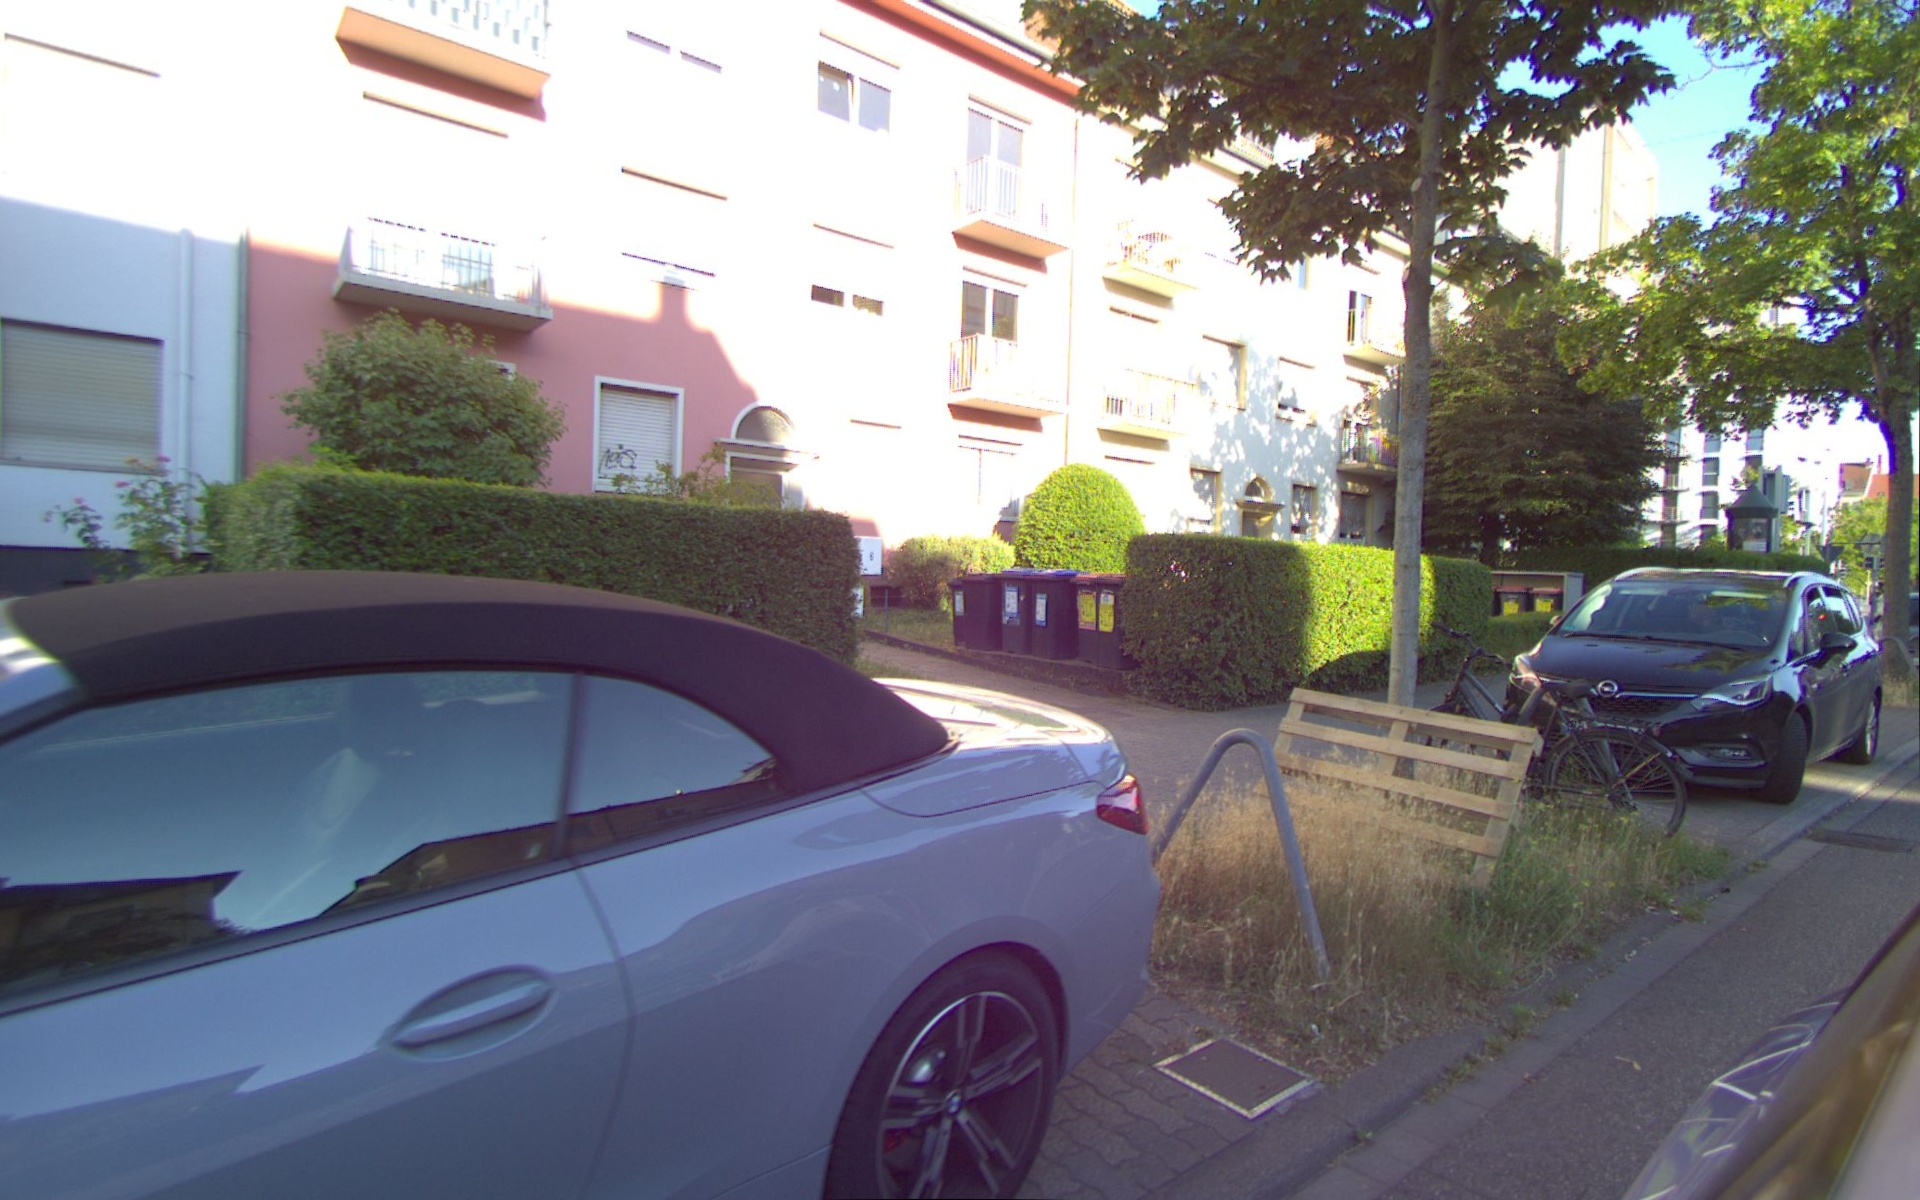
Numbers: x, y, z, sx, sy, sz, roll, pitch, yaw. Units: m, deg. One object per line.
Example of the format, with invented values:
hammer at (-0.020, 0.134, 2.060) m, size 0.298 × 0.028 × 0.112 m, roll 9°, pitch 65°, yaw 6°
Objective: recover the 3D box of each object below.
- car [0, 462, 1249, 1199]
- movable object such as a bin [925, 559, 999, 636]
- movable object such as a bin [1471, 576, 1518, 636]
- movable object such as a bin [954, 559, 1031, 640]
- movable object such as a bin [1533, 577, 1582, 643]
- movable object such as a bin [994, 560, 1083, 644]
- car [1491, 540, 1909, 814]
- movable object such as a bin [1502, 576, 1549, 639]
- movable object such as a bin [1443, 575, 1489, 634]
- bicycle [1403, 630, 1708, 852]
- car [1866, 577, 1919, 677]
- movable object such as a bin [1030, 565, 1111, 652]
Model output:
car at (-1.552, 0.566, 1.942) m, size 4.666 × 1.505 × 1.922 m, roll 0°, pitch 2°, yaw -43°
movable object such as a bin at (0.028, -0.044, 13.938) m, size 0.782 × 1.015 × 0.612 m, roll 1°, pitch 2°, yaw -40°
movable object such as a bin at (11.060, 0.116, 20.928) m, size 0.813 × 1.217 × 0.554 m, roll 1°, pitch 1°, yaw -40°
movable object such as a bin at (0.430, -0.014, 13.276) m, size 0.782 × 1.015 × 0.612 m, roll 1°, pitch 2°, yaw -40°
movable object such as a bin at (11.781, 0.184, 19.943) m, size 0.813 × 1.255 × 0.554 m, roll 1°, pitch 1°, yaw -40°
movable object such as a bin at (0.990, 0.016, 12.797) m, size 0.782 × 1.015 × 0.778 m, roll 1°, pitch 2°, yaw -40°
car at (6.128, 0.441, 8.192) m, size 4.215 × 1.671 × 1.736 m, roll 0°, pitch 2°, yaw -40°
movable object such as a bin at (11.430, 0.149, 20.449) m, size 0.813 × 1.236 × 0.554 m, roll 1°, pitch 1°, yaw -40°
movable object such as a bin at (10.700, 0.088, 21.403) m, size 0.813 × 1.209 × 0.554 m, roll 1°, pitch 1°, yaw -40°
bicycle at (3.439, 0.759, 5.927) m, size 1.474 × 1.072 × 0.406 m, roll 3°, pitch 2°, yaw 38°
car at (16.784, 0.445, 17.053) m, size 3.581 × 1.570 × 1.736 m, roll 0°, pitch 2°, yaw -40°
movable object such as a bin at (1.346, 0.091, 12.331) m, size 0.782 × 1.015 × 0.583 m, roll 1°, pitch 2°, yaw -40°
